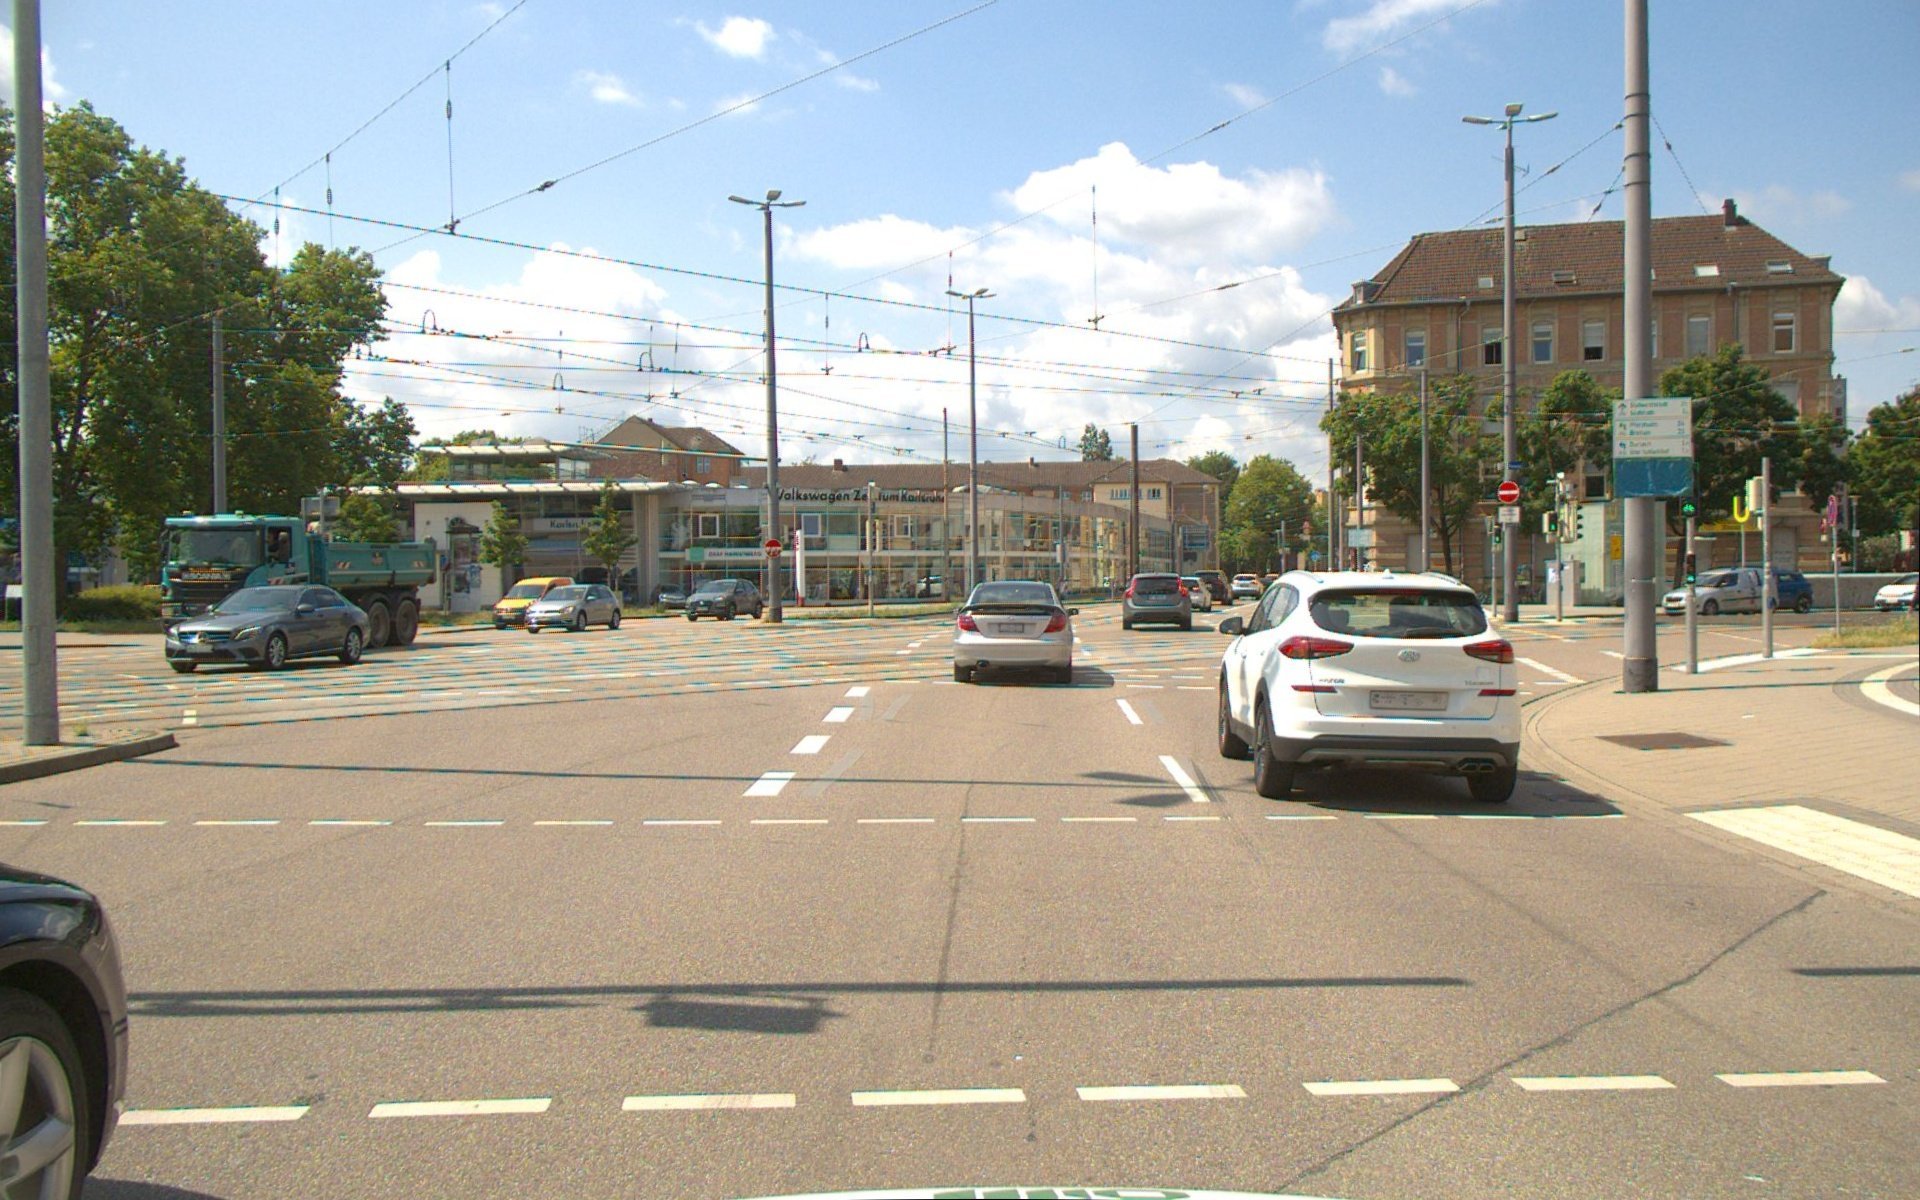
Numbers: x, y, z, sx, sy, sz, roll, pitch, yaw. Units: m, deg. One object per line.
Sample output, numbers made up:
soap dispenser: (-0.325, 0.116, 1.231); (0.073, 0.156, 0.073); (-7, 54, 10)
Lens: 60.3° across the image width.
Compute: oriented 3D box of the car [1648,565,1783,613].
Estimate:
car: (24.829, -0.364, 54.369); (4.068, 1.499, 1.712); (-1, 0, -22)

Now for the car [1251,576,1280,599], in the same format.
car: (22.192, -0.921, 120.019); (1.841, 1.670, 3.960); (0, 1, 14)

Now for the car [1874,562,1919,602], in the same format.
car: (37.312, -0.713, 63.549); (4.070, 1.499, 1.711); (-1, 0, -23)

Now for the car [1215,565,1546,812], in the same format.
car: (3.182, 0.583, 13.372); (1.841, 1.670, 4.235); (-1, 1, 4)

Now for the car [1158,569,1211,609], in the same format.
car: (9.678, -0.483, 70.944); (1.841, 1.670, 3.960); (0, 1, 14)

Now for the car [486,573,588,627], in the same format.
car: (-15.403, -0.031, 60.451); (1.681, 1.832, 4.745); (-1, 0, 11)

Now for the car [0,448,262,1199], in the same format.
car: (-2.635, 0.592, 1.569); (1.888, 1.670, 4.792); (-1, 1, 0)

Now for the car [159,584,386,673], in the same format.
car: (-12.035, 0.445, 29.319); (1.618, 1.416, 4.778); (-1, 1, 6)

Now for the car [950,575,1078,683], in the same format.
car: (0.879, 0.364, 24.465); (1.704, 1.416, 4.182); (1, 1, 4)

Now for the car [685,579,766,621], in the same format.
car: (-9.005, -0.022, 63.883); (1.681, 1.558, 4.125); (-1, 1, 13)

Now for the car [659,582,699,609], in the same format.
car: (-17.109, -0.270, 100.791); (1.954, 1.601, 3.996); (0, -1, -4)

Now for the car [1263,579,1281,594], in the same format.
car: (36.582, -1.586, 193.815); (1.841, 1.722, 3.960); (0, 1, 14)

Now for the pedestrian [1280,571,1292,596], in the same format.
pedestrian: (19.613, -0.997, 99.641); (0.677, 1.483, 0.680); (0, -1, 14)

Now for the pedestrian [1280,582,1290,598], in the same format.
pedestrian: (19.578, -0.599, 99.549); (0.513, 0.922, 1.562); (0, -1, 13)

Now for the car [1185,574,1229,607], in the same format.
car: (12.778, -0.512, 85.422); (1.841, 1.670, 3.960); (0, 1, 14)

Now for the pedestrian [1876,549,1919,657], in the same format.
pedestrian: (15.364, 0.034, 26.445); (0.956, 1.686, 0.853); (-2, -1, -35)

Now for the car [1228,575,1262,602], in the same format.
car: (18.267, -0.748, 105.888); (1.841, 1.670, 3.960); (0, 1, 14)

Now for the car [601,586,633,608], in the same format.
car: (-20.484, -0.147, 98.703); (1.621, 1.272, 3.983); (0, -1, -15)

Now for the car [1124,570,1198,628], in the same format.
car: (5.298, -0.051, 43.490); (1.841, 1.444, 3.960); (0, 1, 7)

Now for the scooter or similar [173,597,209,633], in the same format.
scooter or similar: (-24.133, 0.479, 51.923); (0.370, 1.135, 1.095); (0, -1, 17)

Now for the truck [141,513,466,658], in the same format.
truck: (-14.615, -0.330, 37.853); (2.824, 2.902, 8.800); (-1, 1, 9)

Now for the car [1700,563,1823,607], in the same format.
car: (28.793, -0.557, 59.423); (4.068, 1.499, 1.712); (-1, 0, -22)

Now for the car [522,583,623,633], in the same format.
car: (-12.118, 0.223, 51.987); (1.618, 1.459, 4.275); (-1, 1, 9)
